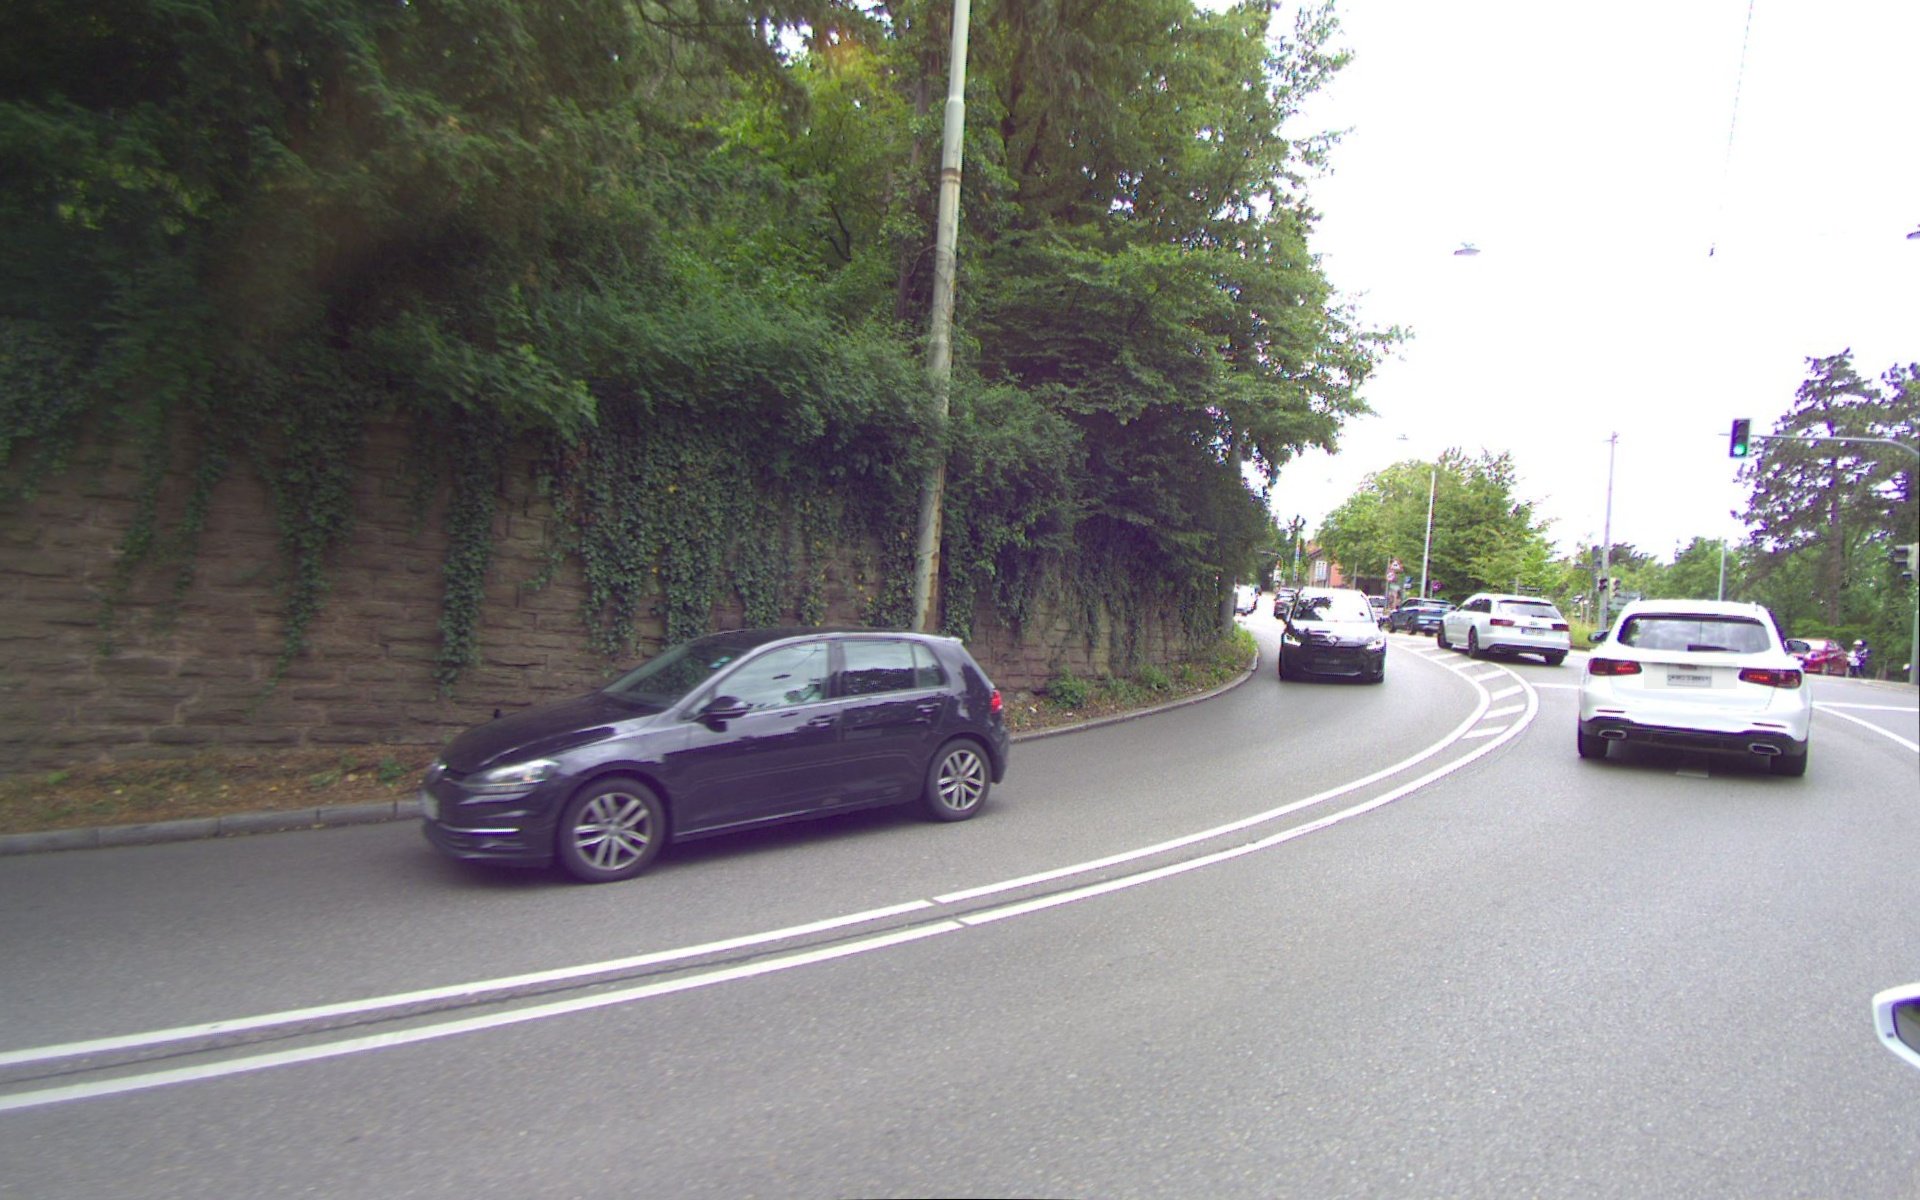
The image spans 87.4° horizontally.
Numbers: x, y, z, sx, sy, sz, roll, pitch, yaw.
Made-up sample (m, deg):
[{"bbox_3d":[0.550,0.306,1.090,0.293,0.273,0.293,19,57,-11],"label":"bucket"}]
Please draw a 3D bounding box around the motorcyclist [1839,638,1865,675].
[{"bbox_3d":[36.068,2.285,40.610,0.750,1.449,0.595,3,0,-37],"label":"motorcyclist"}]

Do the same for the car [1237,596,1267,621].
[{"bbox_3d":[22.176,0.645,76.262,1.862,1.587,4.480,7,2,18],"label":"car"}]

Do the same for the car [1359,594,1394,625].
[{"bbox_3d":[26.257,0.594,63.391,1.469,1.772,3.119,5,2,14],"label":"car"}]

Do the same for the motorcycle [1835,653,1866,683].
[{"bbox_3d":[36.065,2.743,40.671,1.567,1.167,0.594,3,-1,-37],"label":"motorcycle"}]

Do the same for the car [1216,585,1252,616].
[{"bbox_3d":[17.481,0.031,64.167,1.960,1.658,4.400,7,2,14],"label":"car"}]

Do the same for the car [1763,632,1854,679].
[{"bbox_3d":[32.431,2.134,38.386,3.917,1.487,1.656,6,-2,-35],"label":"car"}]

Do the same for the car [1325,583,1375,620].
[{"bbox_3d":[21.271,0.073,54.899,1.606,1.844,4.002,3,1,9],"label":"car"}]

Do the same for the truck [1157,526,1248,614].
[{"bbox_3d":[9.414,-1.237,39.600,2.361,3.131,6.345,1,3,4],"label":"truck"}]

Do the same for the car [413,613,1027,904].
[{"bbox_3d":[-1.545,0.860,7.267,3.968,1.462,1.786,0,0,-41],"label":"car"}]

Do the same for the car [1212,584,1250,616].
[{"bbox_3d":[14.444,0.010,53.632,1.727,1.461,4.481,7,2,15],"label":"car"}]

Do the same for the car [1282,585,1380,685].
[{"bbox_3d":[7.042,0.567,19.109,1.577,1.595,4.061,0,2,20],"label":"car"}]

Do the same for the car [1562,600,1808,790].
[{"bbox_3d":[8.111,0.825,11.038,1.837,1.627,4.647,0,0,40],"label":"car"}]

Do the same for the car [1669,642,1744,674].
[{"bbox_3d":[39.773,3.048,53.604,1.687,1.504,4.003,4,-1,14],"label":"car"}]

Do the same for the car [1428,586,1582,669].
[{"bbox_3d":[12.679,0.542,23.727,1.833,1.555,4.778,3,3,12],"label":"car"}]

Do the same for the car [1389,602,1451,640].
[{"bbox_3d":[19.047,0.832,41.747,1.600,1.439,3.857,1,0,13],"label":"car"}]
